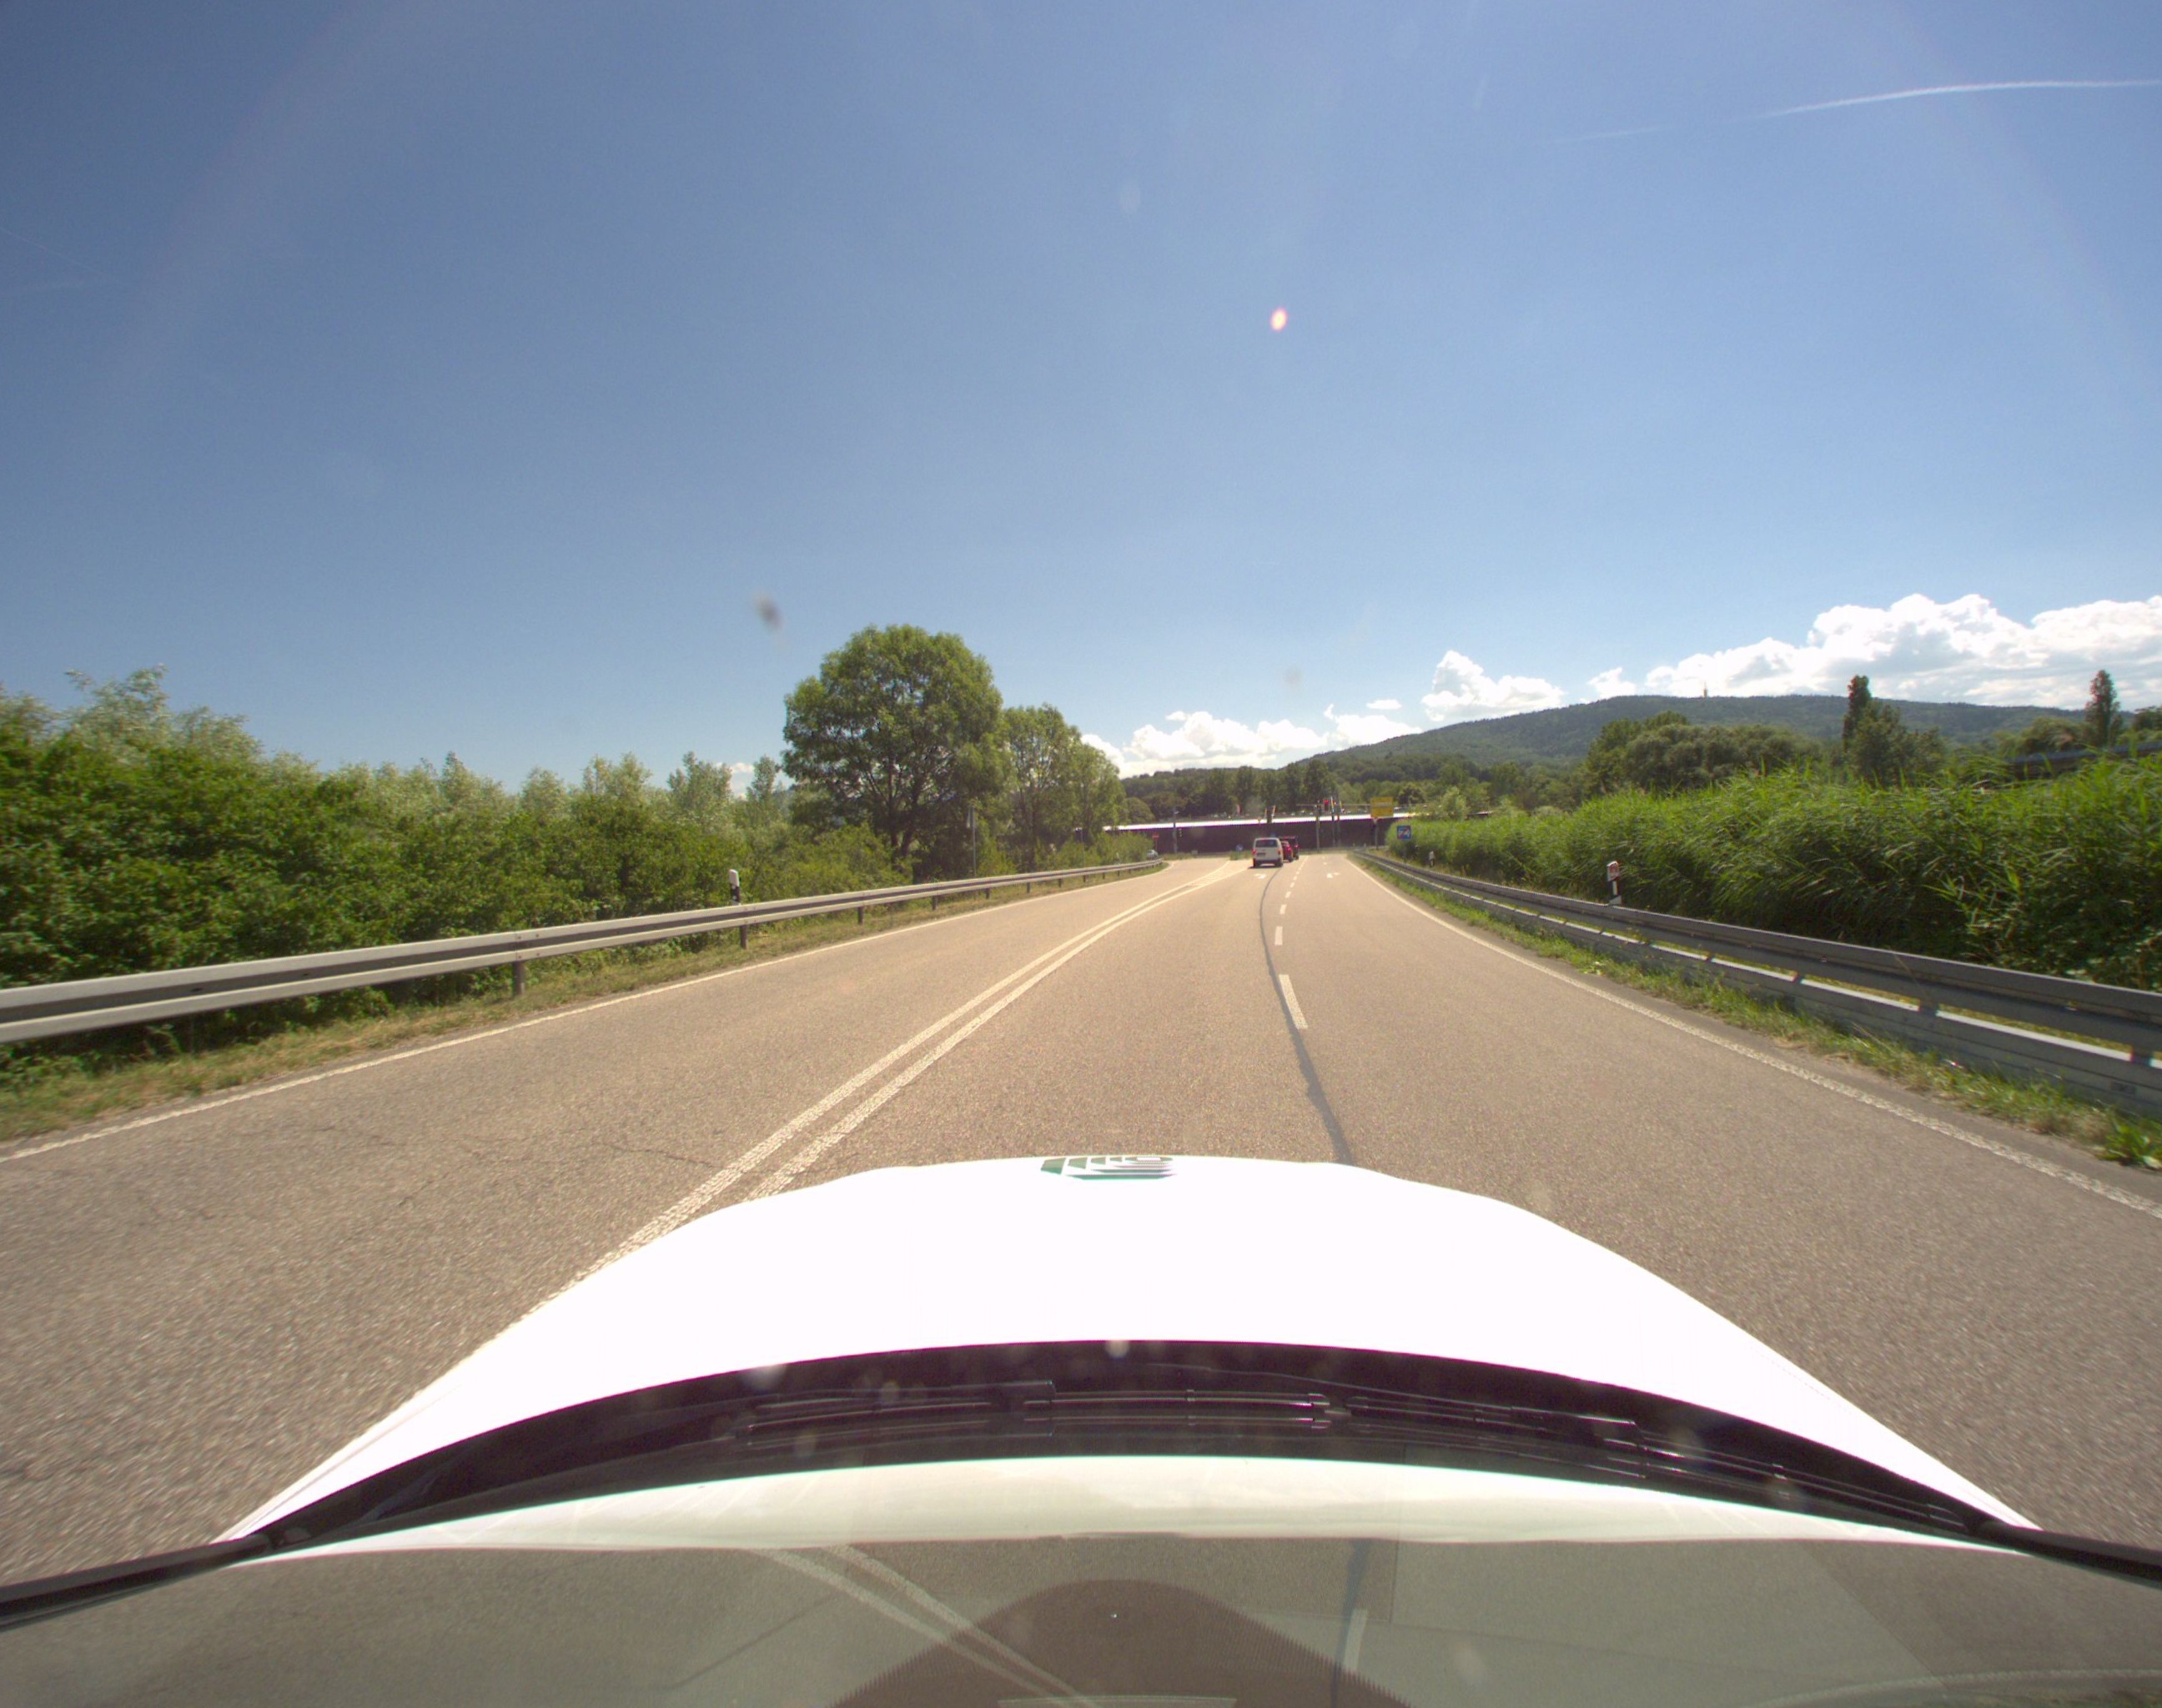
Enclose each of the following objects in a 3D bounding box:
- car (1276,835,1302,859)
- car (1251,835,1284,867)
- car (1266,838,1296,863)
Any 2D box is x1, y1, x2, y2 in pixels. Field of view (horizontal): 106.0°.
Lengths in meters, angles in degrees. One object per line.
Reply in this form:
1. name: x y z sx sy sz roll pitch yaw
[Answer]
1. car: 18.467 -0.617 72.076 1.978 2.013 4.017 -4 0 16
2. car: 12.320 -0.196 53.776 1.856 1.964 4.017 -2 0 16
3. car: 15.826 -0.261 64.318 1.978 1.812 4.017 -4 0 16
